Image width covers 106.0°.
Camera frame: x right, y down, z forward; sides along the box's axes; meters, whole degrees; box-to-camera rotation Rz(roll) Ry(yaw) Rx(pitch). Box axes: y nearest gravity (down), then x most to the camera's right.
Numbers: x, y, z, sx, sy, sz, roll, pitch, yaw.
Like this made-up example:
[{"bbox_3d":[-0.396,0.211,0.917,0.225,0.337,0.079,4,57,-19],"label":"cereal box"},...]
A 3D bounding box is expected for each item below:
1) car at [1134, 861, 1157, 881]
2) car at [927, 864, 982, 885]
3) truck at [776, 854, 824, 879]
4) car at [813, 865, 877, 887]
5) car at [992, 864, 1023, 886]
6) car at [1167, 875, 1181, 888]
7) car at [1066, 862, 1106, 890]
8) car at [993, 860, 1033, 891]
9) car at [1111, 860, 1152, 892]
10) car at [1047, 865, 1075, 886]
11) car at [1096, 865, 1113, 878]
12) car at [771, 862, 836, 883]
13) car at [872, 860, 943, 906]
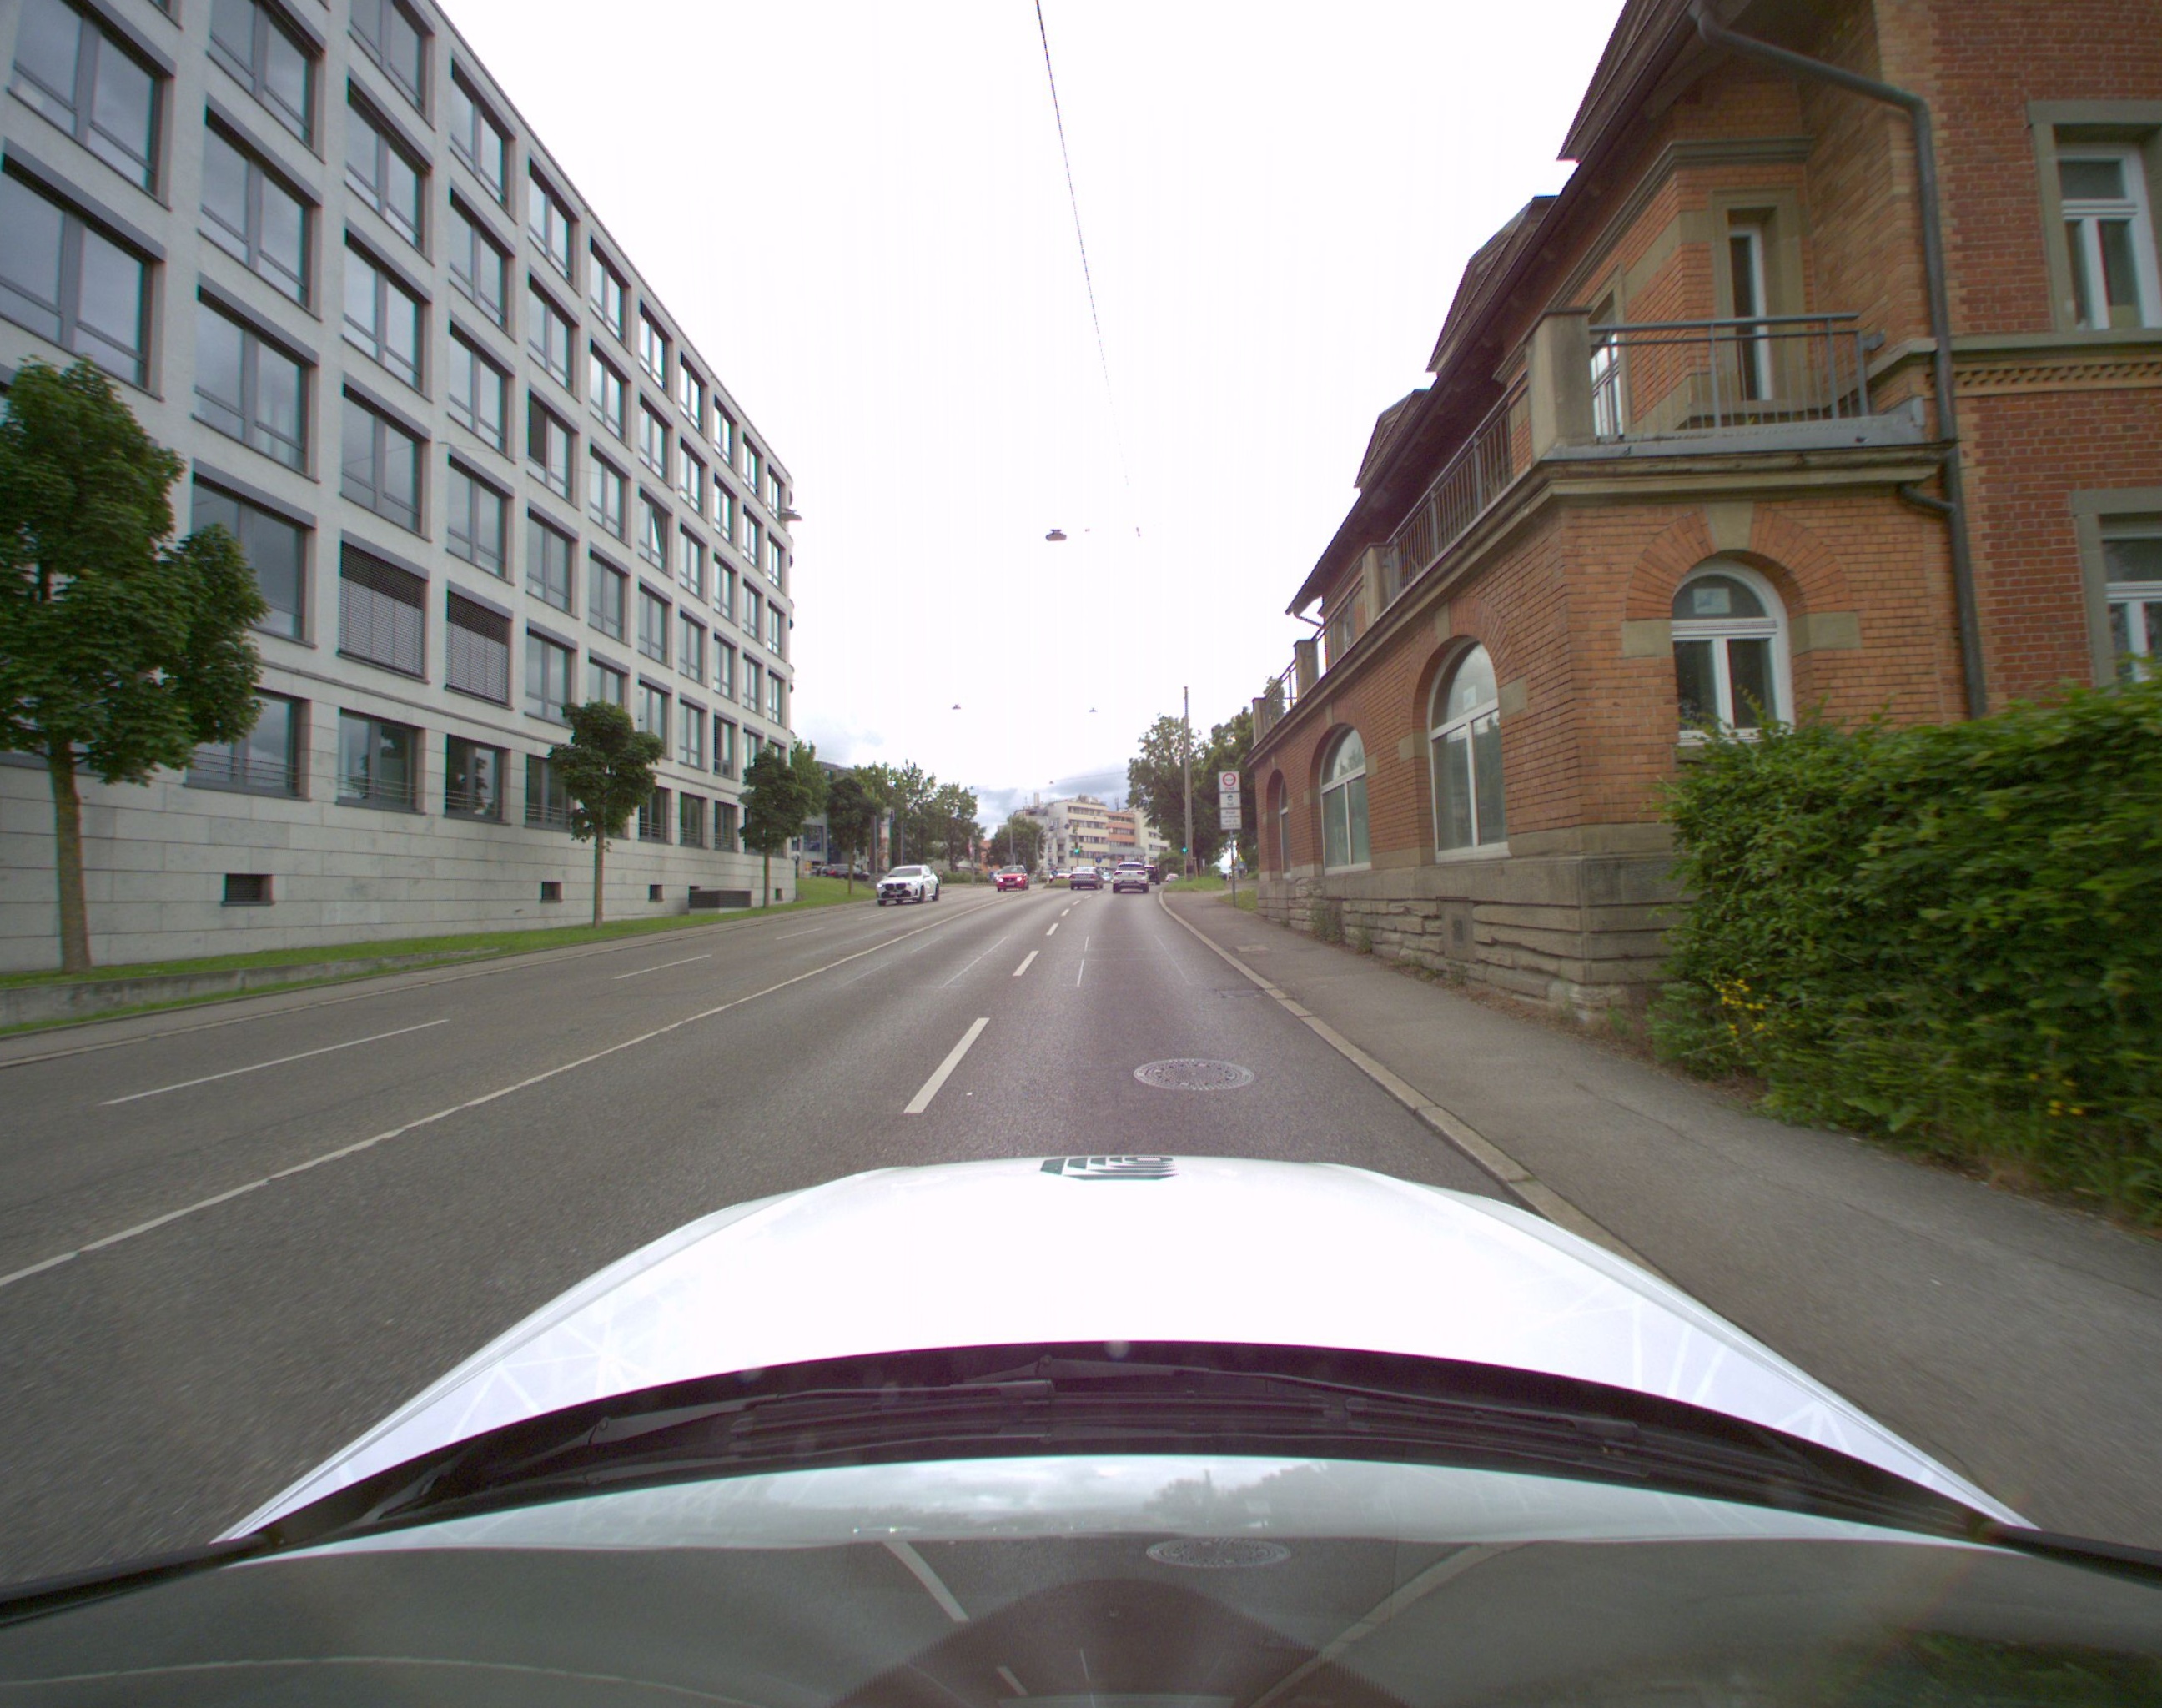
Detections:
[{"bbox_3d":[5.021,1.359,63.594,1.693,1.516,3.495,-1,-2,3],"label":"car"},{"bbox_3d":[-10.054,1.627,64.876,4.023,1.544,1.759,0,-2,-45],"label":"car"},{"bbox_3d":[-27.098,1.195,78.664,1.975,2.387,4.024,0,0,28],"label":"truck"},{"bbox_3d":[-16.718,1.534,57.942,1.759,1.463,4.467,0,0,27],"label":"car"},{"bbox_3d":[-5.698,1.584,63.315,1.740,1.494,4.210,-4,-1,2],"label":"car"},{"bbox_3d":[12.218,3.573,107.333,1.761,1.571,4.292,-2,0,6],"label":"car"},{"bbox_3d":[0.346,1.286,49.056,1.688,1.516,3.748,-1,0,11],"label":"car"},{"bbox_3d":[-4.174,1.304,50.611,1.862,1.702,4.431,-4,-1,2],"label":"car"},{"bbox_3d":[2.680,1.105,42.653,1.689,1.548,3.746,2,0,9],"label":"car"},{"bbox_3d":[-1.704,1.877,72.233,1.761,1.570,4.293,-4,-1,7],"label":"car"},{"bbox_3d":[2.924,2.137,99.508,1.769,1.565,4.005,-1,-1,5],"label":"car"},{"bbox_3d":[-20.119,1.372,59.299,1.759,1.463,4.466,0,-2,27],"label":"car"},{"bbox_3d":[-7.558,1.205,35.980,1.862,1.789,4.656,-4,-1,2],"label":"car"}]
